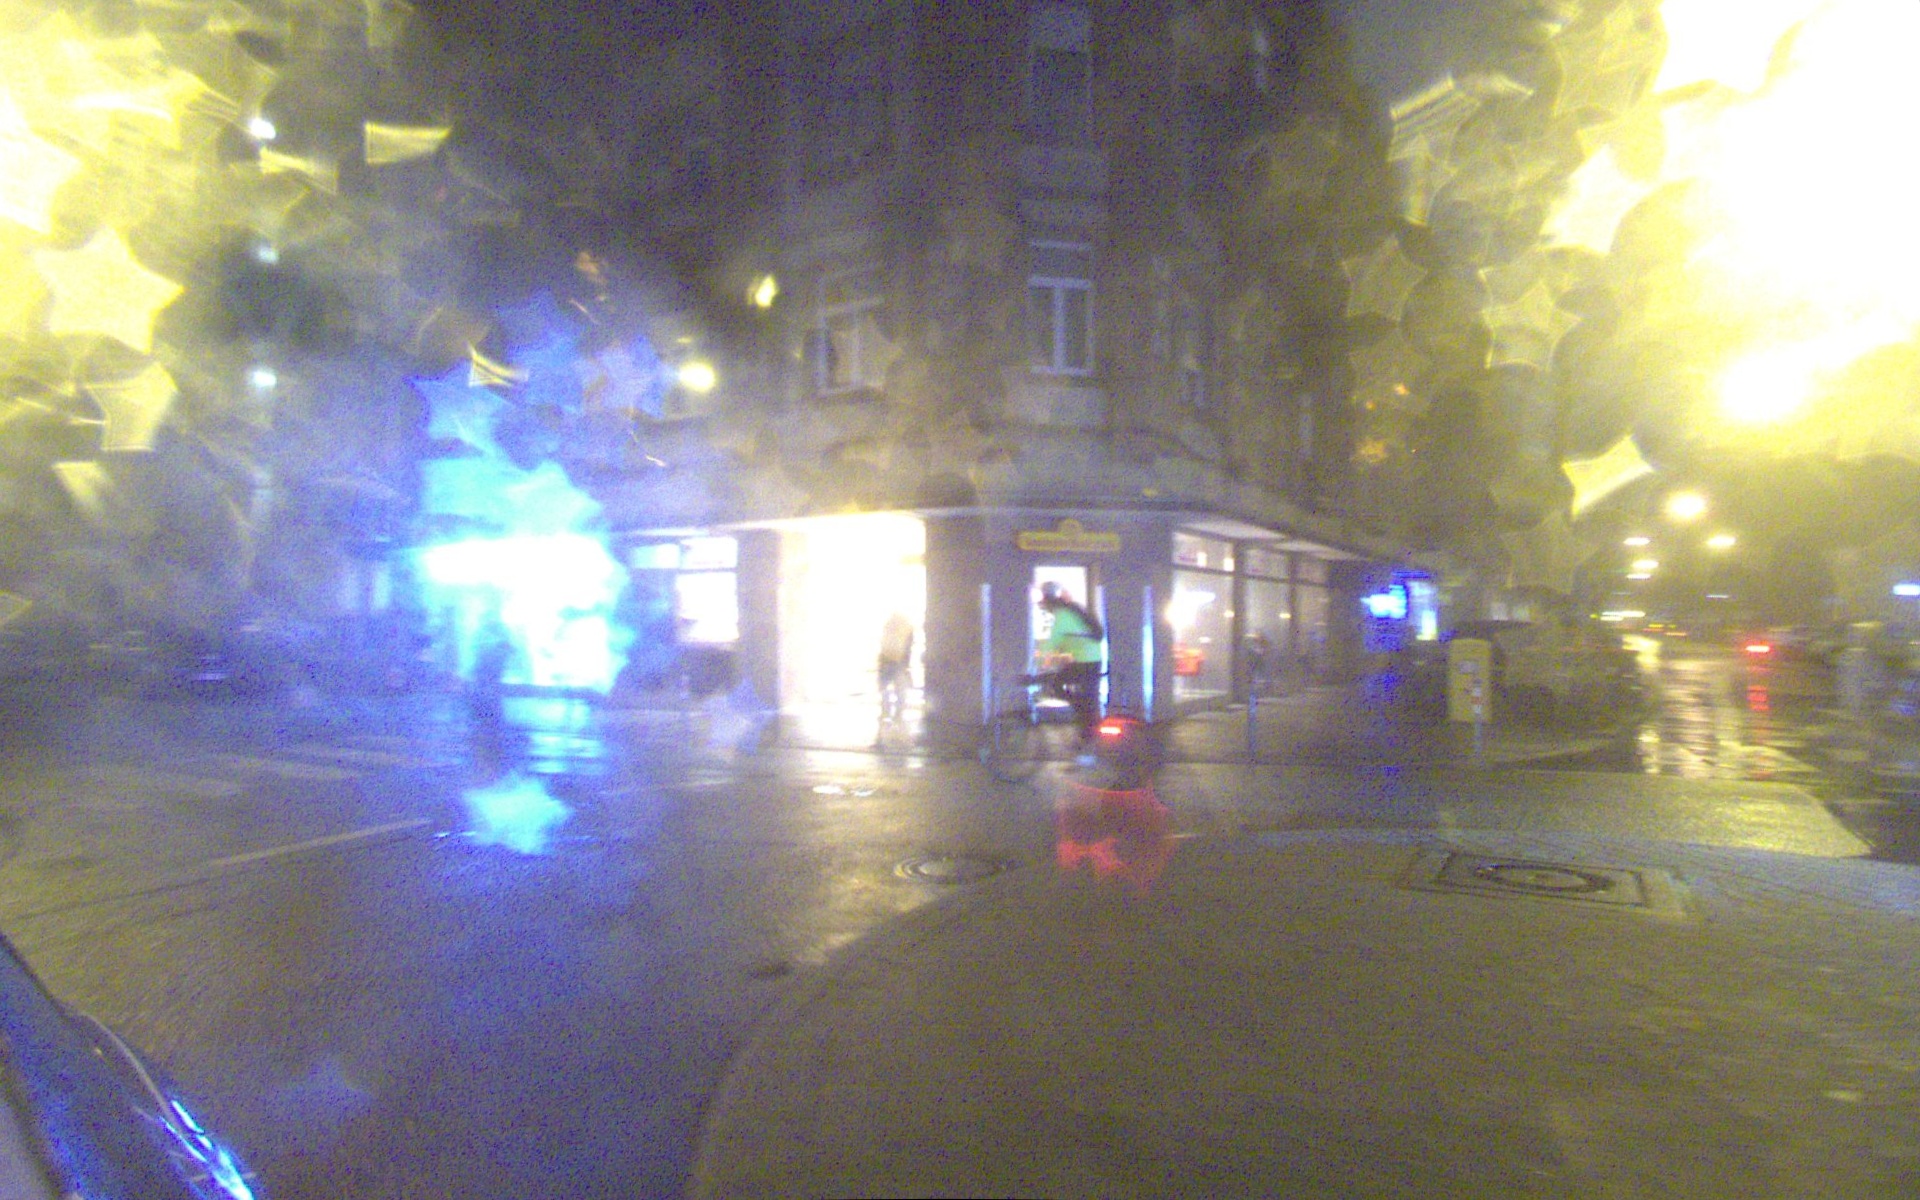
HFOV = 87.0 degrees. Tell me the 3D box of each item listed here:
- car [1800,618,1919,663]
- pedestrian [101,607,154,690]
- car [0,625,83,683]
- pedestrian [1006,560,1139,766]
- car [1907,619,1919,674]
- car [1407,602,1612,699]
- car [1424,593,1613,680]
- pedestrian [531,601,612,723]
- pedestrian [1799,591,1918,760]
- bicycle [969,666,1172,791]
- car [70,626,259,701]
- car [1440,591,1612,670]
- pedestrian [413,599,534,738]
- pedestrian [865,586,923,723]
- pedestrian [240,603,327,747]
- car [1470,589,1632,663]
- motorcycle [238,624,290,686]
[{"bbox_3d":[34.654,1.551,38.763,3.664,1.640,1.572,-1,-3,35],"label":"car"},{"bbox_3d":[-23.157,1.333,28.150,1.112,2.258,0.793,-1,-2,32],"label":"pedestrian"},{"bbox_3d":[-26.558,1.471,28.372,4.143,1.489,1.704,-1,-1,30],"label":"car"},{"bbox_3d":[1.063,0.575,9.483,1.115,1.825,0.711,-1,-2,17],"label":"pedestrian"},{"bbox_3d":[26.613,1.194,25.744,3.454,1.414,1.572,-1,-3,35],"label":"car"},{"bbox_3d":[12.836,1.096,23.710,3.993,2.029,1.976,-1,1,37],"label":"car"},{"bbox_3d":[14.200,0.866,25.789,3.993,2.029,1.976,-1,1,37],"label":"car"},{"bbox_3d":[-6.130,0.953,15.969,1.075,1.846,0.669,-1,0,35],"label":"pedestrian"},{"bbox_3d":[10.501,0.863,11.833,0.787,1.872,0.947,3,-4,-45],"label":"pedestrian"},{"bbox_3d":[1.044,1.162,9.473,1.786,1.067,0.711,-1,-2,17],"label":"bicycle"},{"bbox_3d":[-17.825,1.341,22.604,5.016,1.489,1.832,-1,-1,33],"label":"car"},{"bbox_3d":[15.780,0.802,28.274,3.993,2.029,1.976,-1,1,37],"label":"car"},{"bbox_3d":[-6.913,0.940,14.397,1.410,1.877,0.948,-1,-2,32],"label":"pedestrian"},{"bbox_3d":[-0.964,0.775,14.648,0.643,1.923,0.630,0,-2,-23],"label":"pedestrian"},{"bbox_3d":[-8.757,0.936,13.111,0.600,1.784,0.817,-1,0,45],"label":"pedestrian"},{"bbox_3d":[17.615,0.722,30.200,3.993,2.029,1.976,-1,1,37],"label":"car"},{"bbox_3d":[-17.452,1.362,25.358,1.453,1.482,0.532,-1,0,32],"label":"motorcycle"}]
